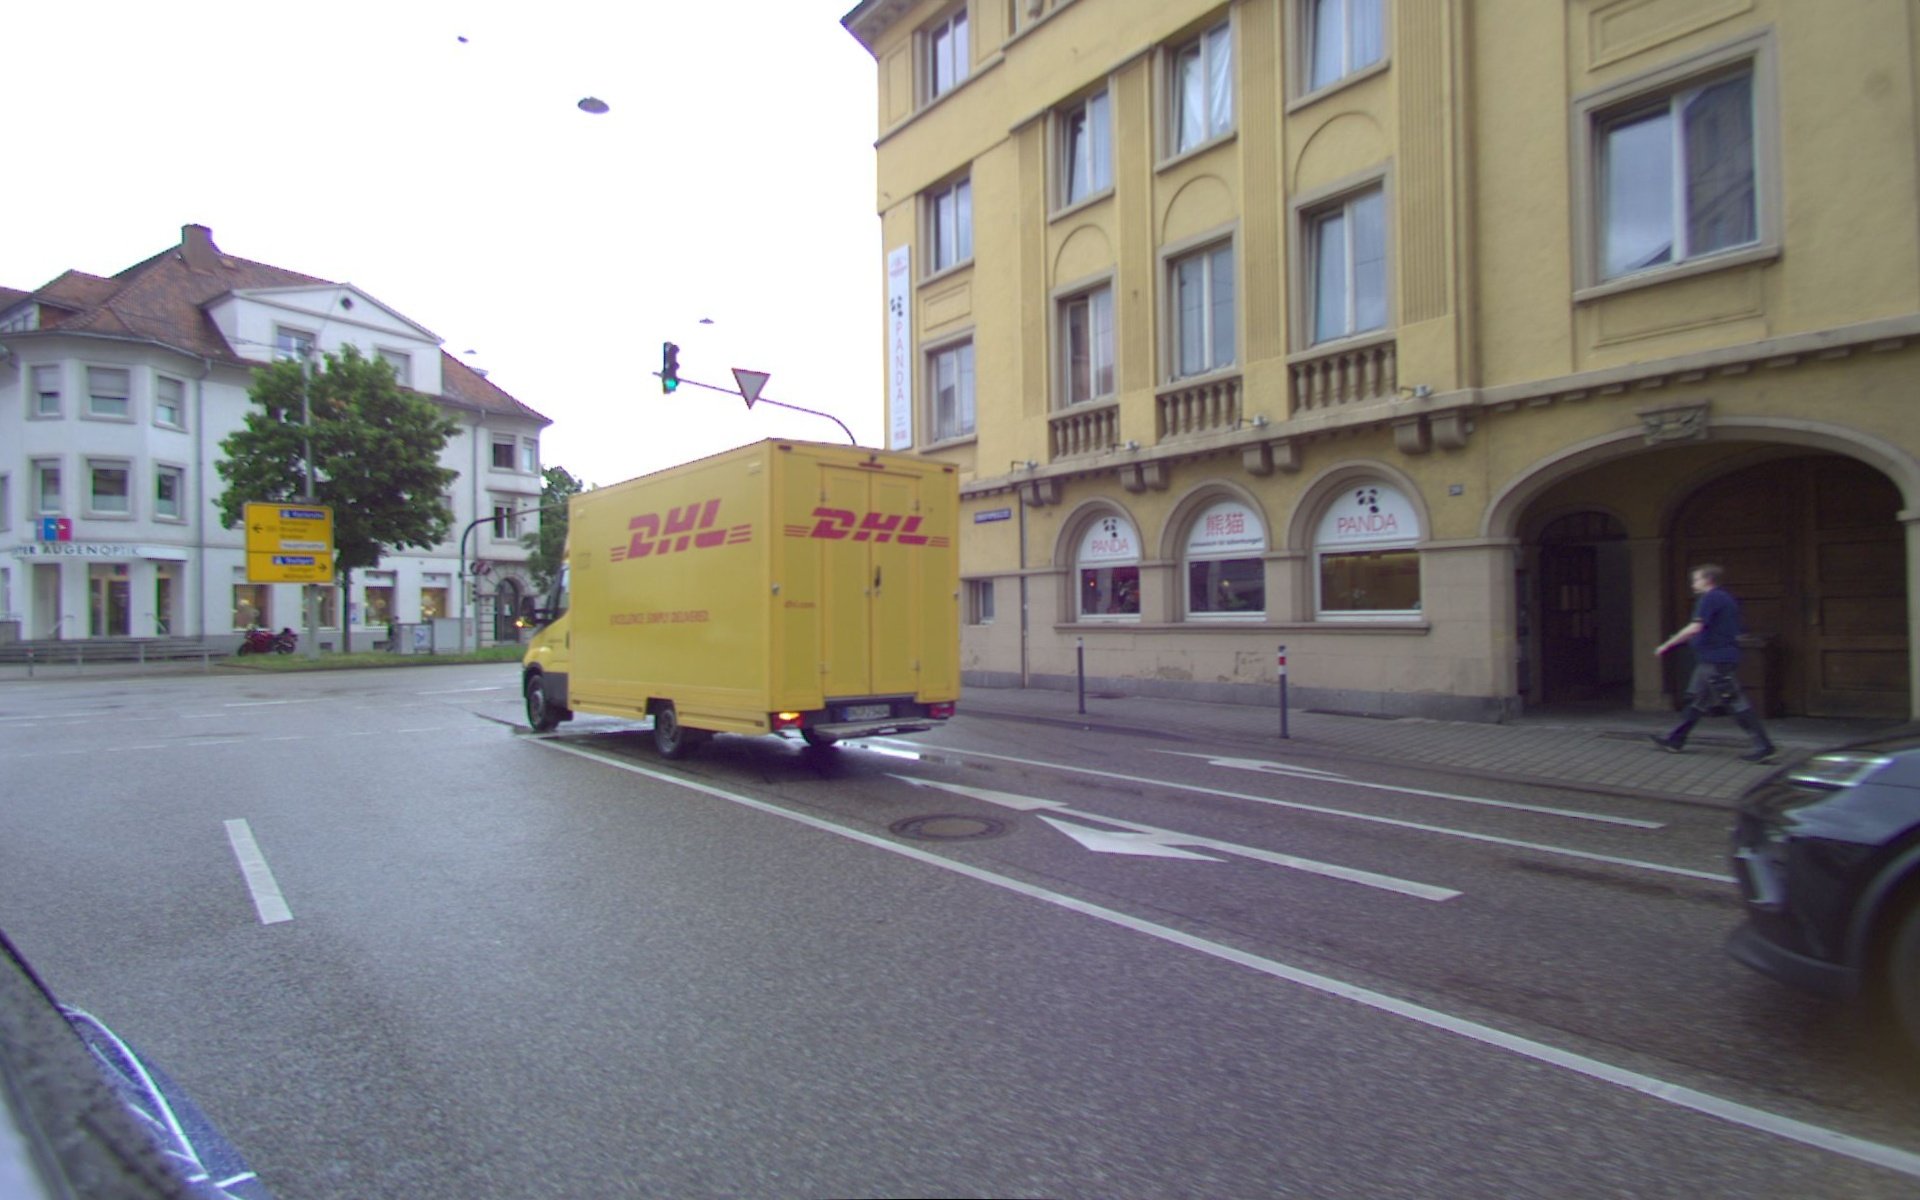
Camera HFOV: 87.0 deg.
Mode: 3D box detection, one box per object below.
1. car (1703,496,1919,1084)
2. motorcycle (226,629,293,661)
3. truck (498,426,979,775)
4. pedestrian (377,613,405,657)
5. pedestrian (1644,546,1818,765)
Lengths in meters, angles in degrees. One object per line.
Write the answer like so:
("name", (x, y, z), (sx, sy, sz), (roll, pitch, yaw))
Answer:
("car", (4.502, 0.498, 1.952), (1.918, 1.595, 4.613), (1, -1, -39))
("motorcycle", (-26.849, 1.712, 38.840), (0.717, 1.157, 1.990), (-1, -1, 33))
("truck", (-2.955, 0.059, 11.438), (2.200, 2.771, 7.034), (1, -1, -41))
("pedestrian", (-22.993, 1.398, 40.887), (0.681, 1.742, 0.746), (-1, -1, 36))
("pedestrian", (6.862, 0.453, 9.021), (0.882, 1.784, 1.034), (-4, 2, -41))
